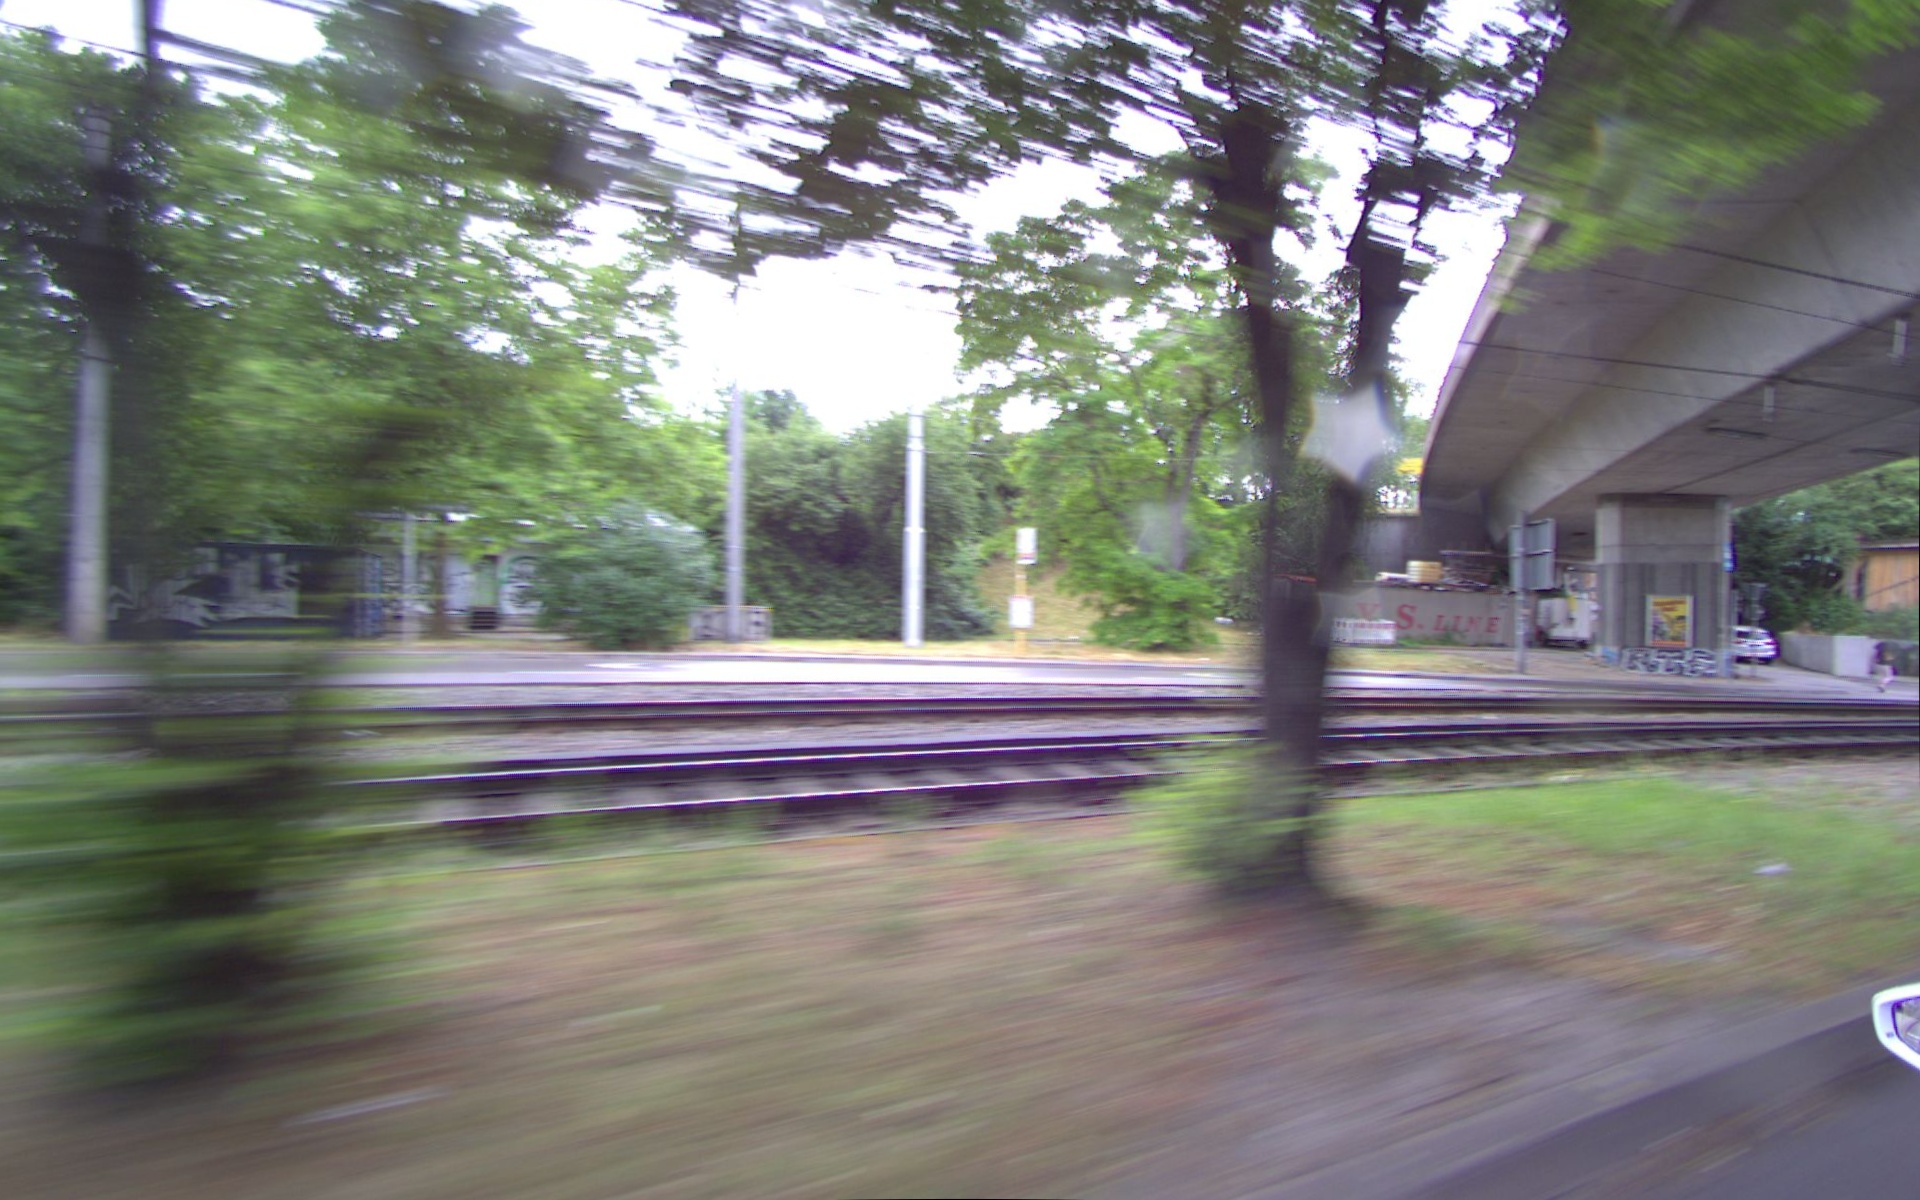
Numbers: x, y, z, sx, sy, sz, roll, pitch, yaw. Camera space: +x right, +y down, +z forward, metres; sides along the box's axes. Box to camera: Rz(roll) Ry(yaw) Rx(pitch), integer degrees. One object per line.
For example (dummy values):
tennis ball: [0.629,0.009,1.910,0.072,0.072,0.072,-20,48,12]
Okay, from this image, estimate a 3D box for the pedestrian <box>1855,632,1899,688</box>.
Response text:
pedestrian: [31.289,2.050,34.274,0.852,1.855,0.694,1,1,-14]

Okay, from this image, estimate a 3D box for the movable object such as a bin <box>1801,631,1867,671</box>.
movable object such as a bin: [36.996,2.123,42.550,1.531,1.499,1.801,2,2,21]

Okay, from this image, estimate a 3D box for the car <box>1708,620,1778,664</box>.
car: [35.586,1.877,45.742,1.687,1.690,3.195,3,3,24]

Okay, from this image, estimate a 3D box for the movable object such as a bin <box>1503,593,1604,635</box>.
movable object such as a bin: [38.708,0.877,65.543,5.373,2.486,2.626,2,1,-16]

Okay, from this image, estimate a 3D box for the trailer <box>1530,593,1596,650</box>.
trailer: [30.855,1.079,51.558,1.960,2.761,4.124,2,0,19]

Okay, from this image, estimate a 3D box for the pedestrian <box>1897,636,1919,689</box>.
pedestrian: [31.829,2.080,33.311,0.872,1.692,0.694,2,1,-11]
